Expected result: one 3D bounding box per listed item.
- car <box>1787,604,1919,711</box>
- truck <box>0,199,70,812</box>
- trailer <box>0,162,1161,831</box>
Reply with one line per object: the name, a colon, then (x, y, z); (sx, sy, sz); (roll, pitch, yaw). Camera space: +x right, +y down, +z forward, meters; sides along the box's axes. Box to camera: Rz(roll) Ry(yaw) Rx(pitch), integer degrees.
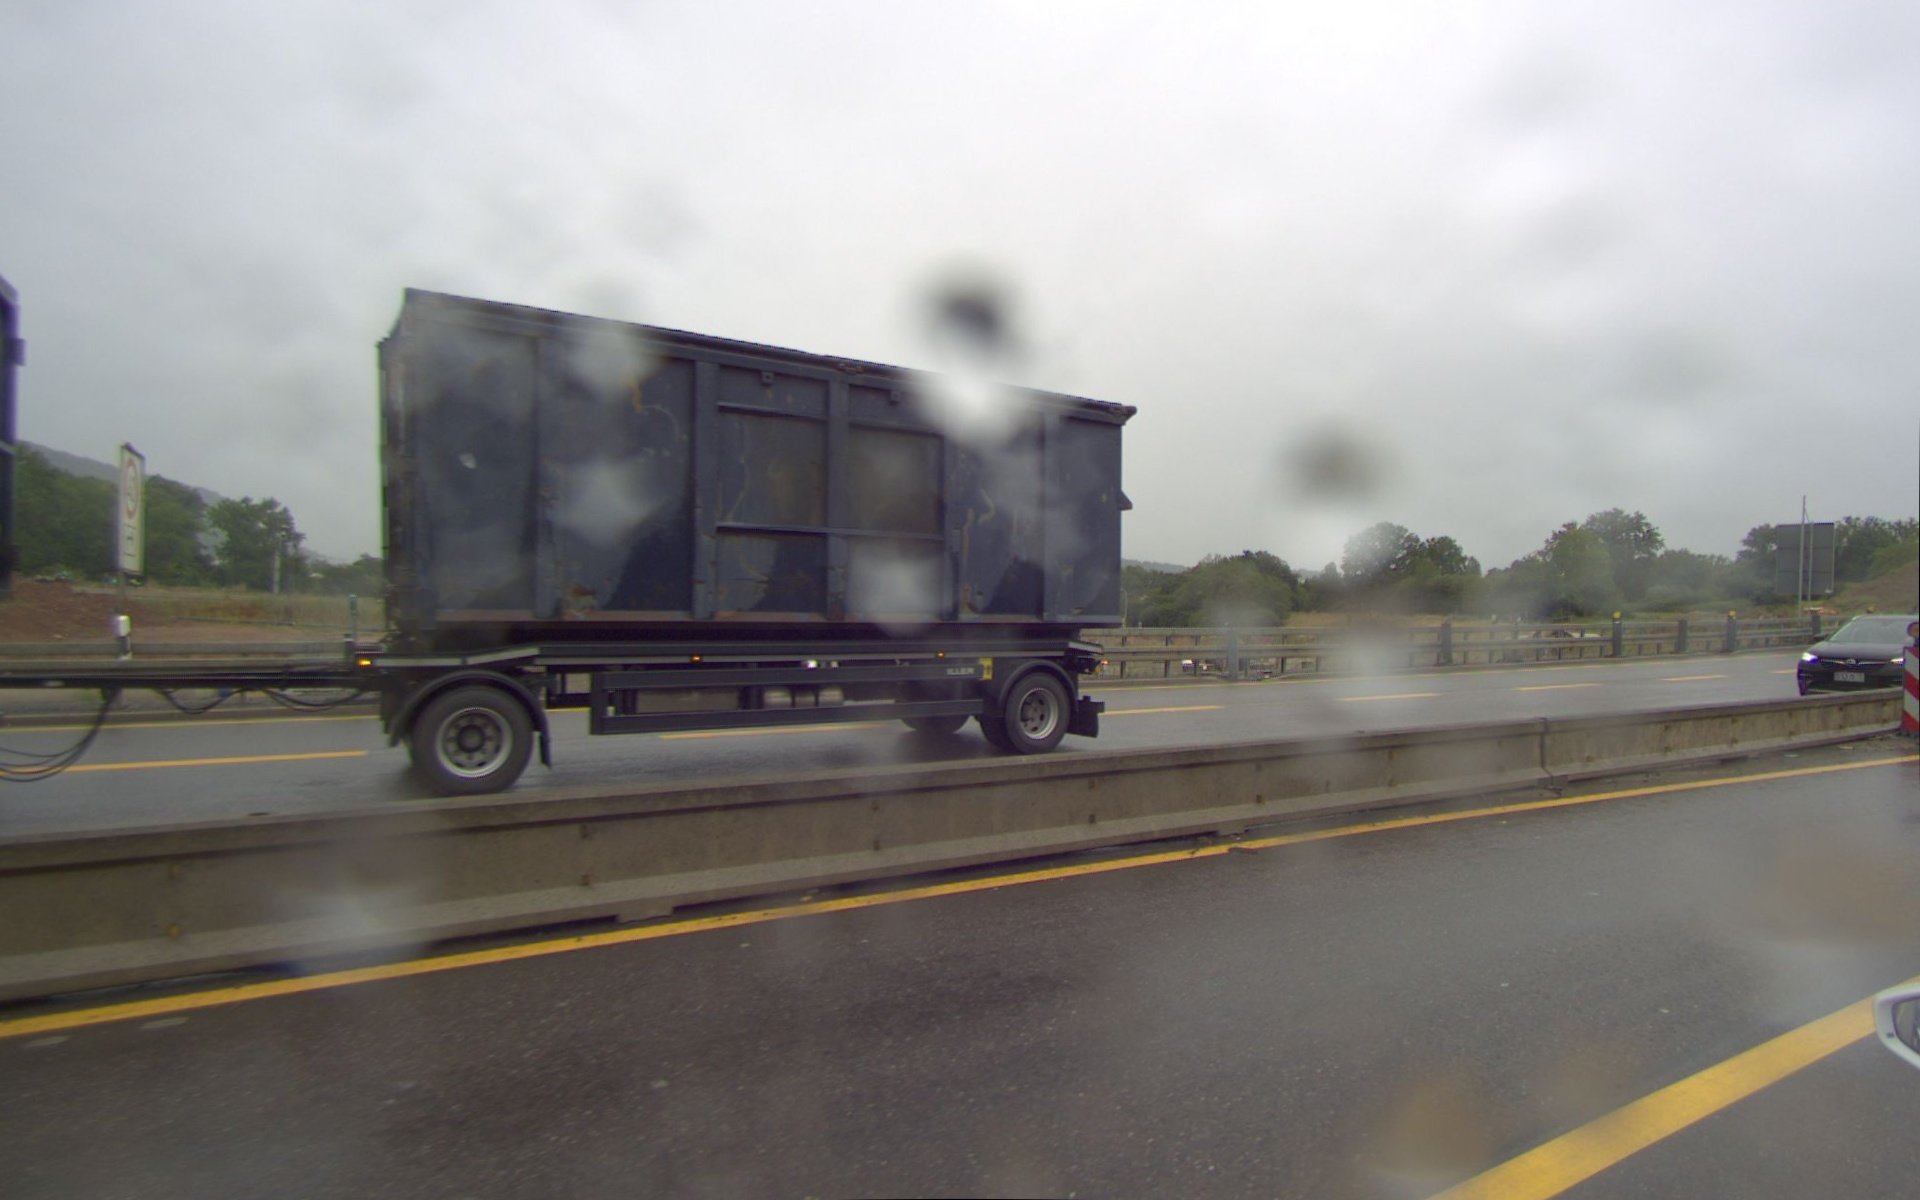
car: (17.423, 0.997, 18.461); (5.489, 1.707, 1.728); (1, 0, -32)
truck: (-10.445, -0.685, 4.616); (9.113, 4.023, 2.626); (1, 0, -33)
trailer: (-2.515, -0.522, 9.788); (9.569, 4.023, 2.730); (1, 0, -33)
